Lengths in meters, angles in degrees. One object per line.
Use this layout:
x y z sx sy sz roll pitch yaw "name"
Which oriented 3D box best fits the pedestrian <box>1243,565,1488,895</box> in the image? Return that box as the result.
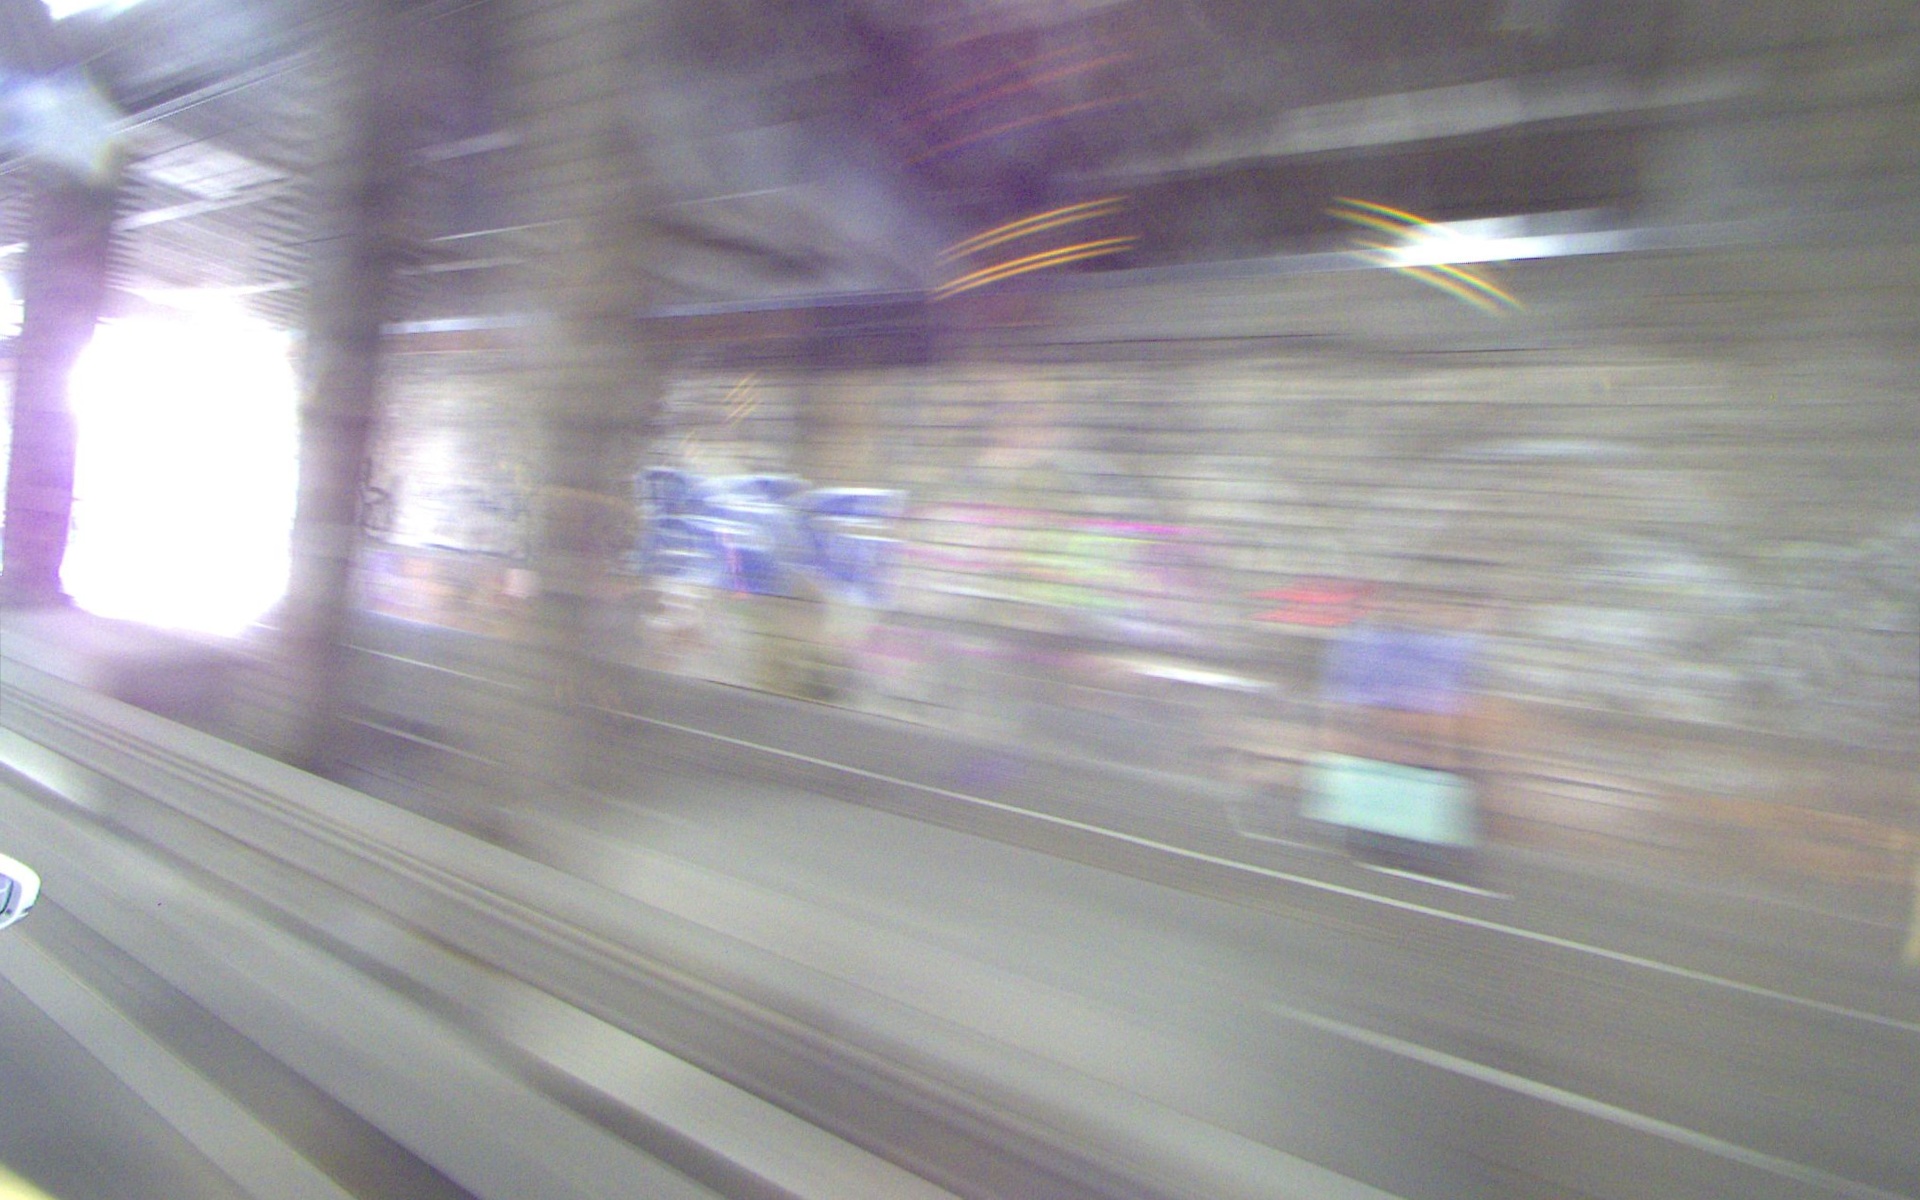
2.466 0.723 6.114 1.092 1.724 0.800 7 2 31 "pedestrian"
